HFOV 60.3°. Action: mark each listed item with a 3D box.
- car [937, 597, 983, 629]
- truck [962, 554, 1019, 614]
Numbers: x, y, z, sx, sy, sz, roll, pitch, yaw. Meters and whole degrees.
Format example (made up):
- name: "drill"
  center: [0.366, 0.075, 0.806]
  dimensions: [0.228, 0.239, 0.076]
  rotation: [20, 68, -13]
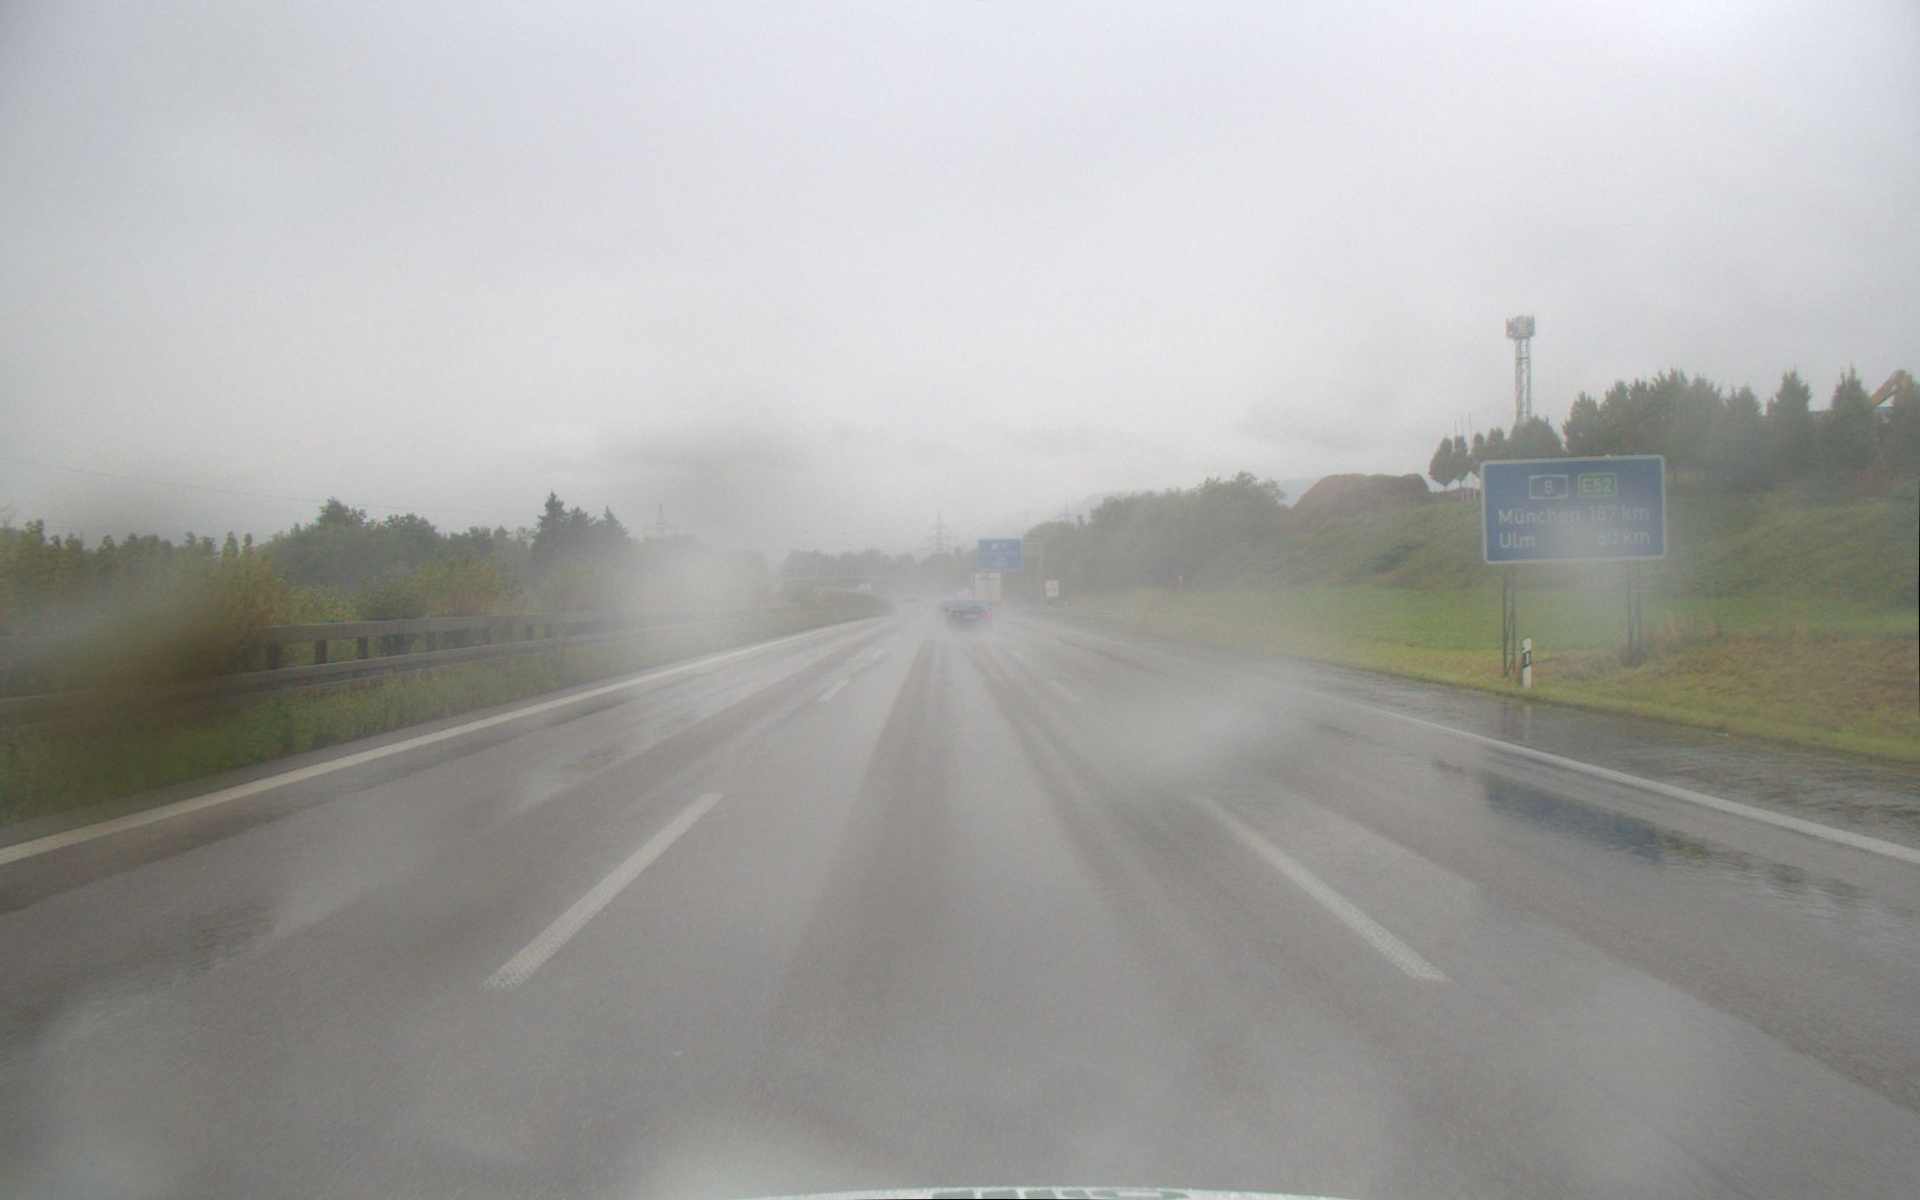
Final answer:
- name: "car"
  center: [-0.014, 0.491, 65.301]
  dimensions: [1.713, 1.233, 3.999]
  rotation: [0, 0, -1]
- name: "truck"
  center: [2.776, -1.470, 156.245]
  dimensions: [4.172, 5.058, 17.333]
  rotation: [-3, 0, -2]
